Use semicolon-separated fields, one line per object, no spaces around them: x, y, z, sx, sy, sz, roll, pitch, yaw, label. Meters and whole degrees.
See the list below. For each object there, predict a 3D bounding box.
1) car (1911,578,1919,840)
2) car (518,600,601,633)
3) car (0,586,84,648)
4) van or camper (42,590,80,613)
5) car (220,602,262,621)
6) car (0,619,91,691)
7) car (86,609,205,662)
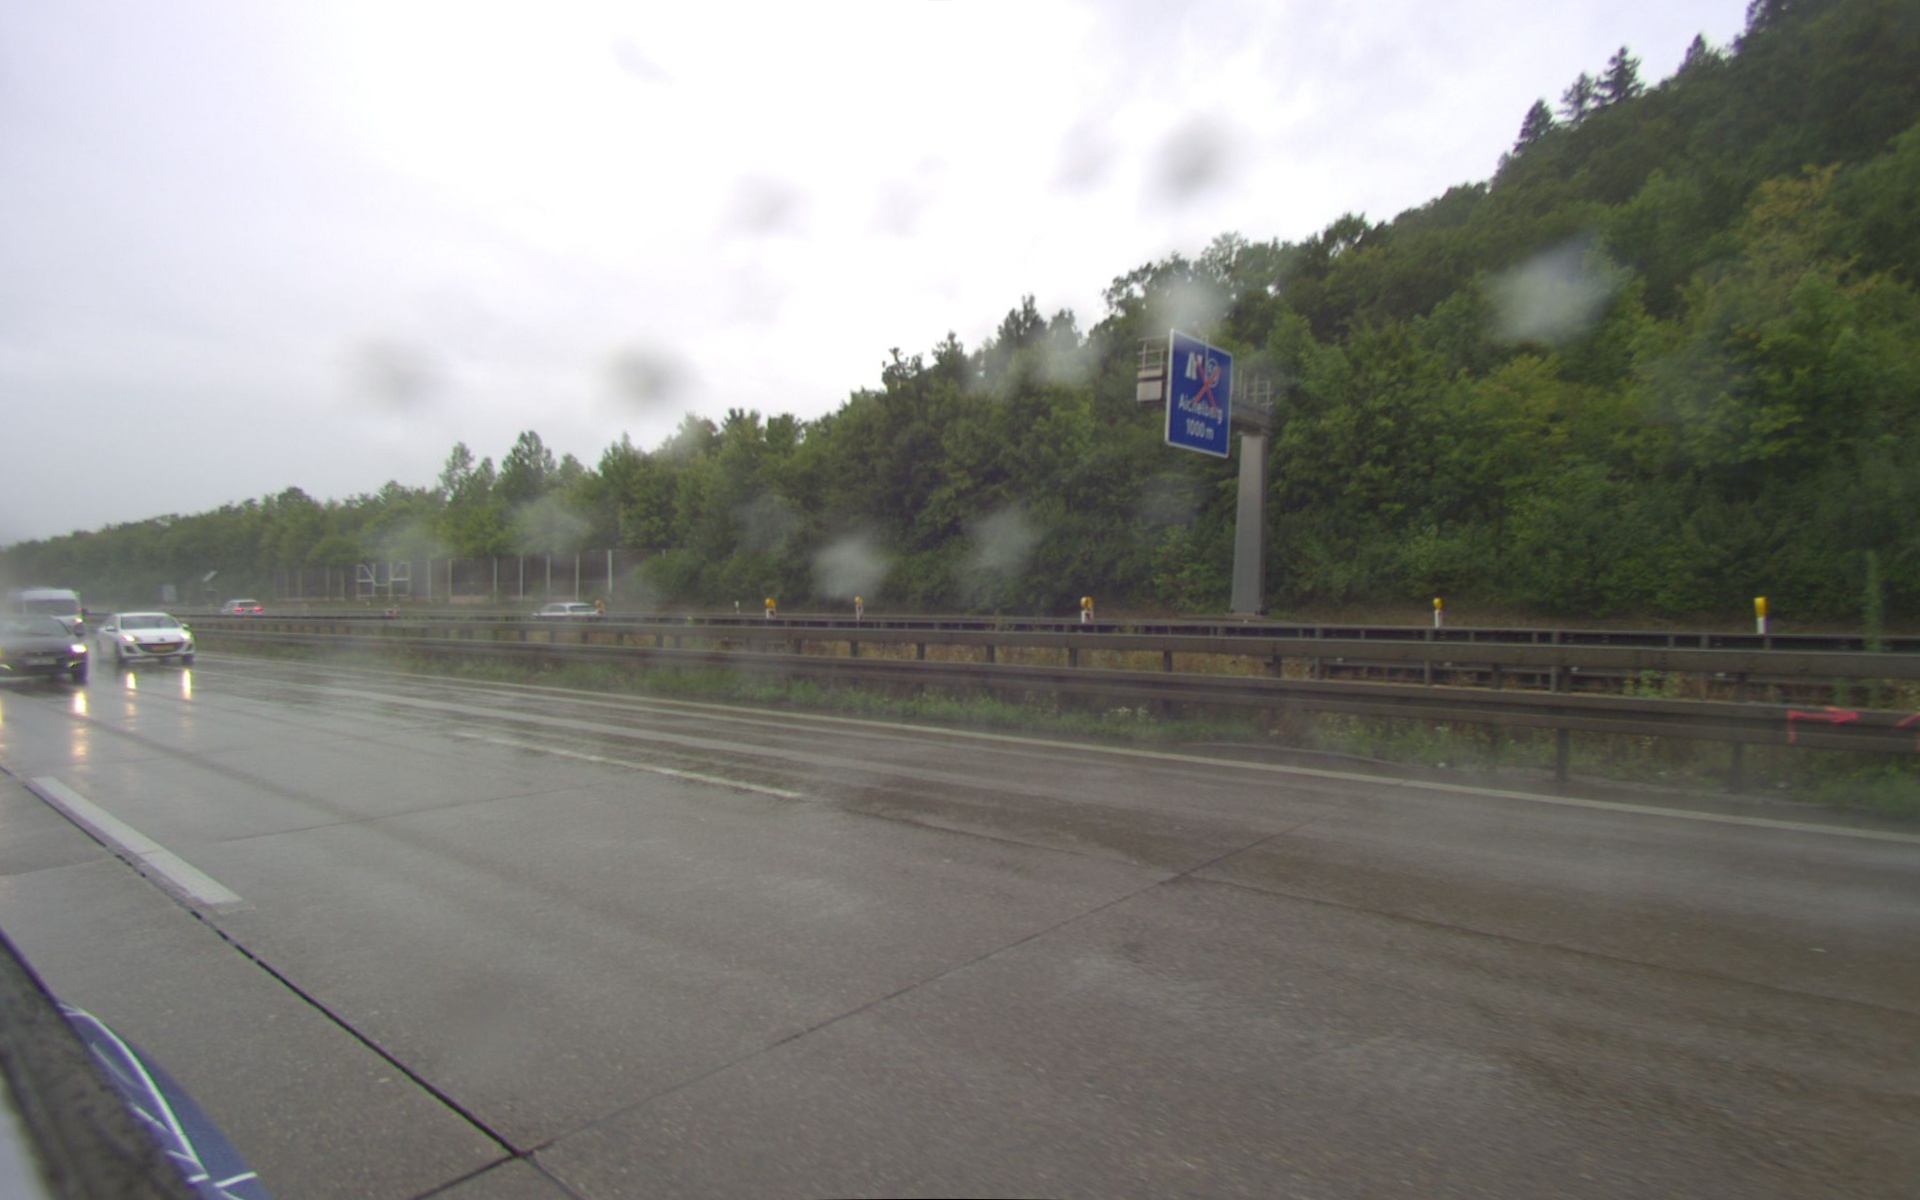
6.668;0.591;3.843;4.347;1.445;1.650;-1;0;41;car
-18.615;0.750;46.934;4.515;1.445;1.650;-1;0;41;car
-42.226;0.747;46.497;6.398;2.651;2.020;-1;0;40;car
-109.891;0.195;123.691;7.494;2.738;2.530;-1;1;41;van or camper
-57.111;0.929;80.373;4.515;1.445;1.650;-1;0;41;car
-21.294;1.183;22.845;4.515;1.445;1.909;-1;0;41;car
-24.294;1.014;30.129;4.514;1.445;1.910;-1;0;40;car
